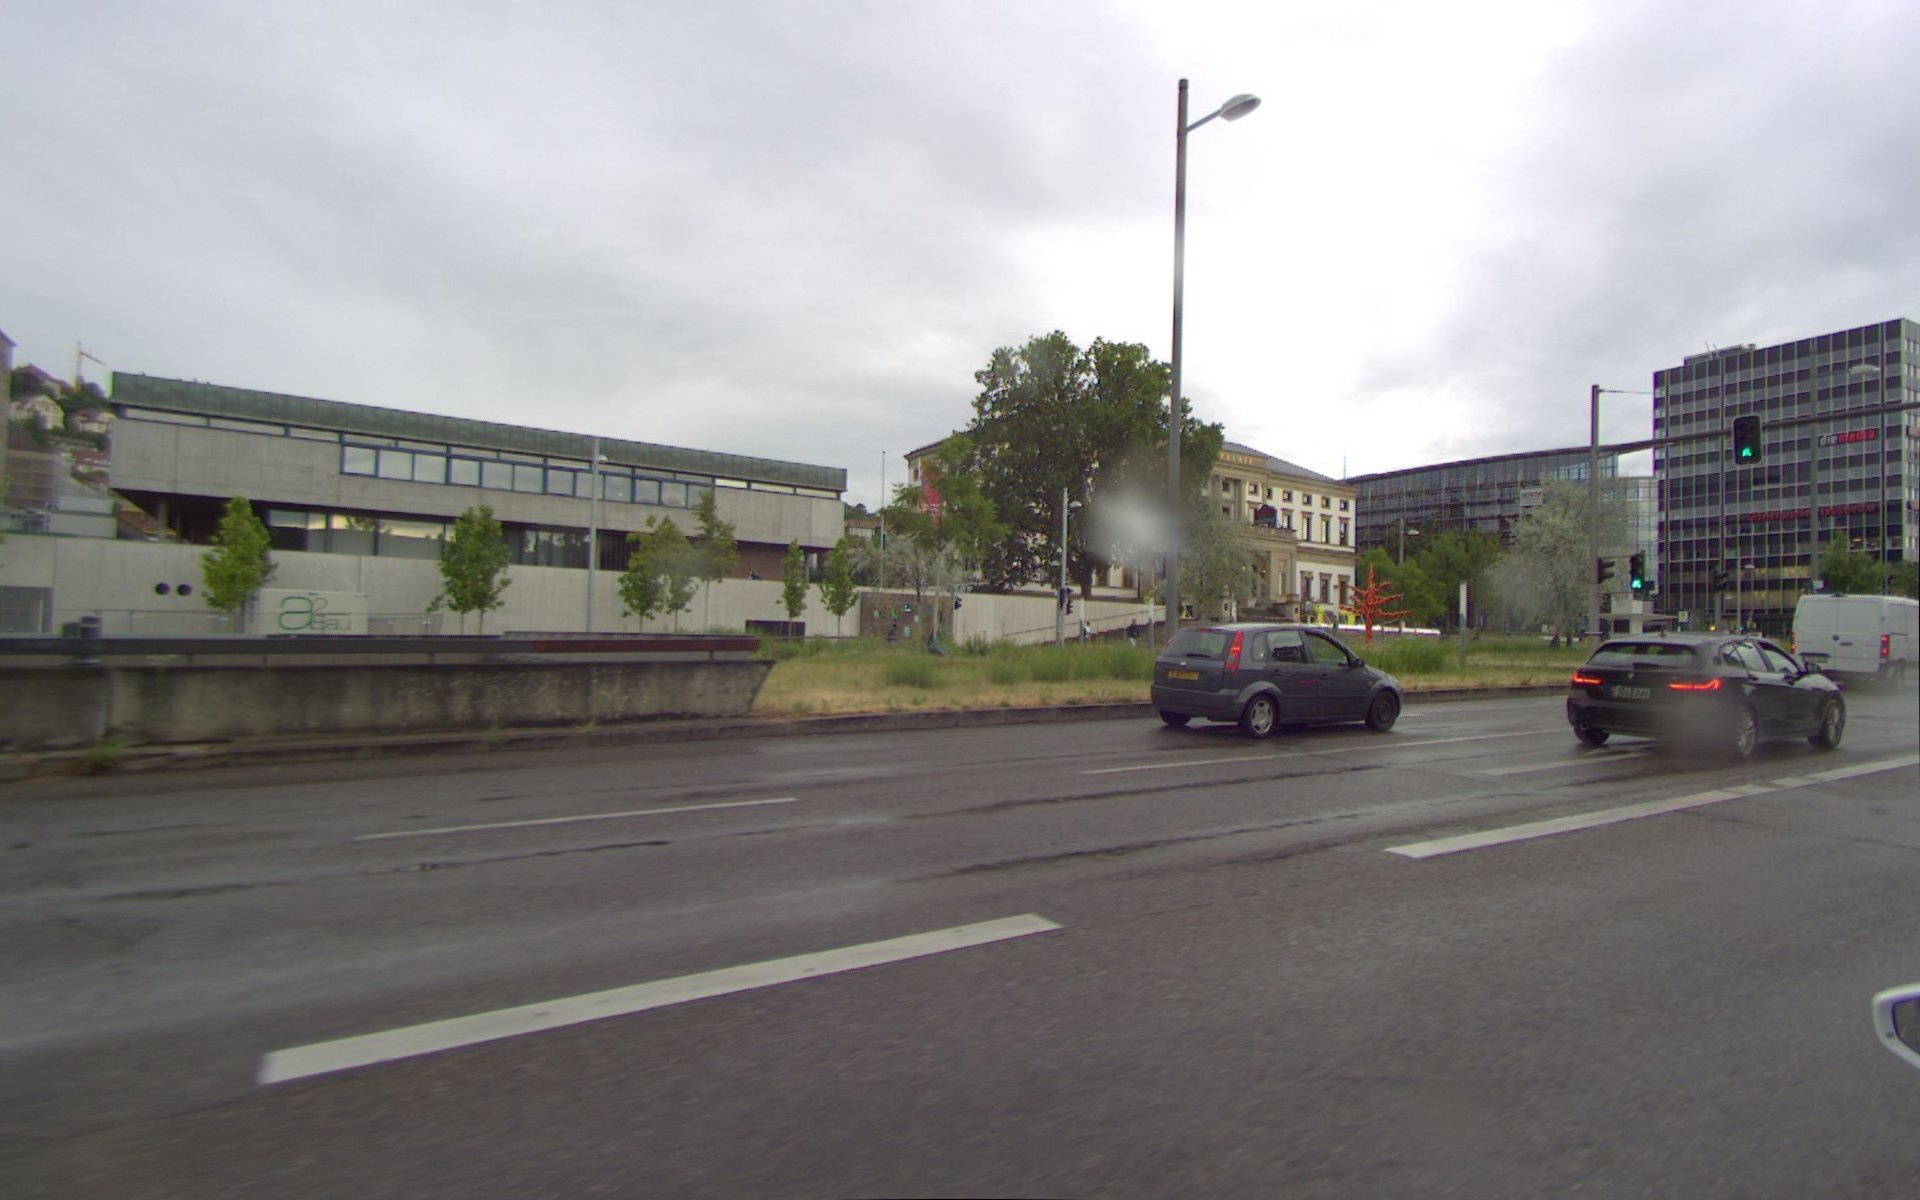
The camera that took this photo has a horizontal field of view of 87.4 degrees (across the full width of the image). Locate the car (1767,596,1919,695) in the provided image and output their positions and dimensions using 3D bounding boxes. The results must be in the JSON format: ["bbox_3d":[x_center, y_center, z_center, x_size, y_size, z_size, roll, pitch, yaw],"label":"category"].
[{"bbox_3d":[23.341,1.187,26.034,4.950,2.344,2.280,3,-2,-32],"label":"car"}]

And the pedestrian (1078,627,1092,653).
[{"bbox_3d":[7.146,2.290,57.456,0.626,1.441,0.489,2,-1,-31],"label":"pedestrian"}]

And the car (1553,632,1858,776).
[{"bbox_3d":[9.545,1.193,12.784,4.175,1.491,1.744,0,-1,-32],"label":"car"}]

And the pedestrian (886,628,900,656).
[{"bbox_3d":[-3.349,2.088,50.139,0.566,1.401,0.467,2,-1,-11],"label":"pedestrian"}]

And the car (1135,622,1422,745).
[{"bbox_3d":[4.362,1.080,13.600,3.857,1.434,1.534,3,-1,-31],"label":"car"}]

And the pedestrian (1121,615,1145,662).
[{"bbox_3d":[8.142,1.811,47.245,0.717,2.120,0.764,-4,2,-28],"label":"pedestrian"}]

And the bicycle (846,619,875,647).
[{"bbox_3d":[-4.791,1.575,48.310,1.461,1.325,0.554,1,-2,44],"label":"bicycle"}]
